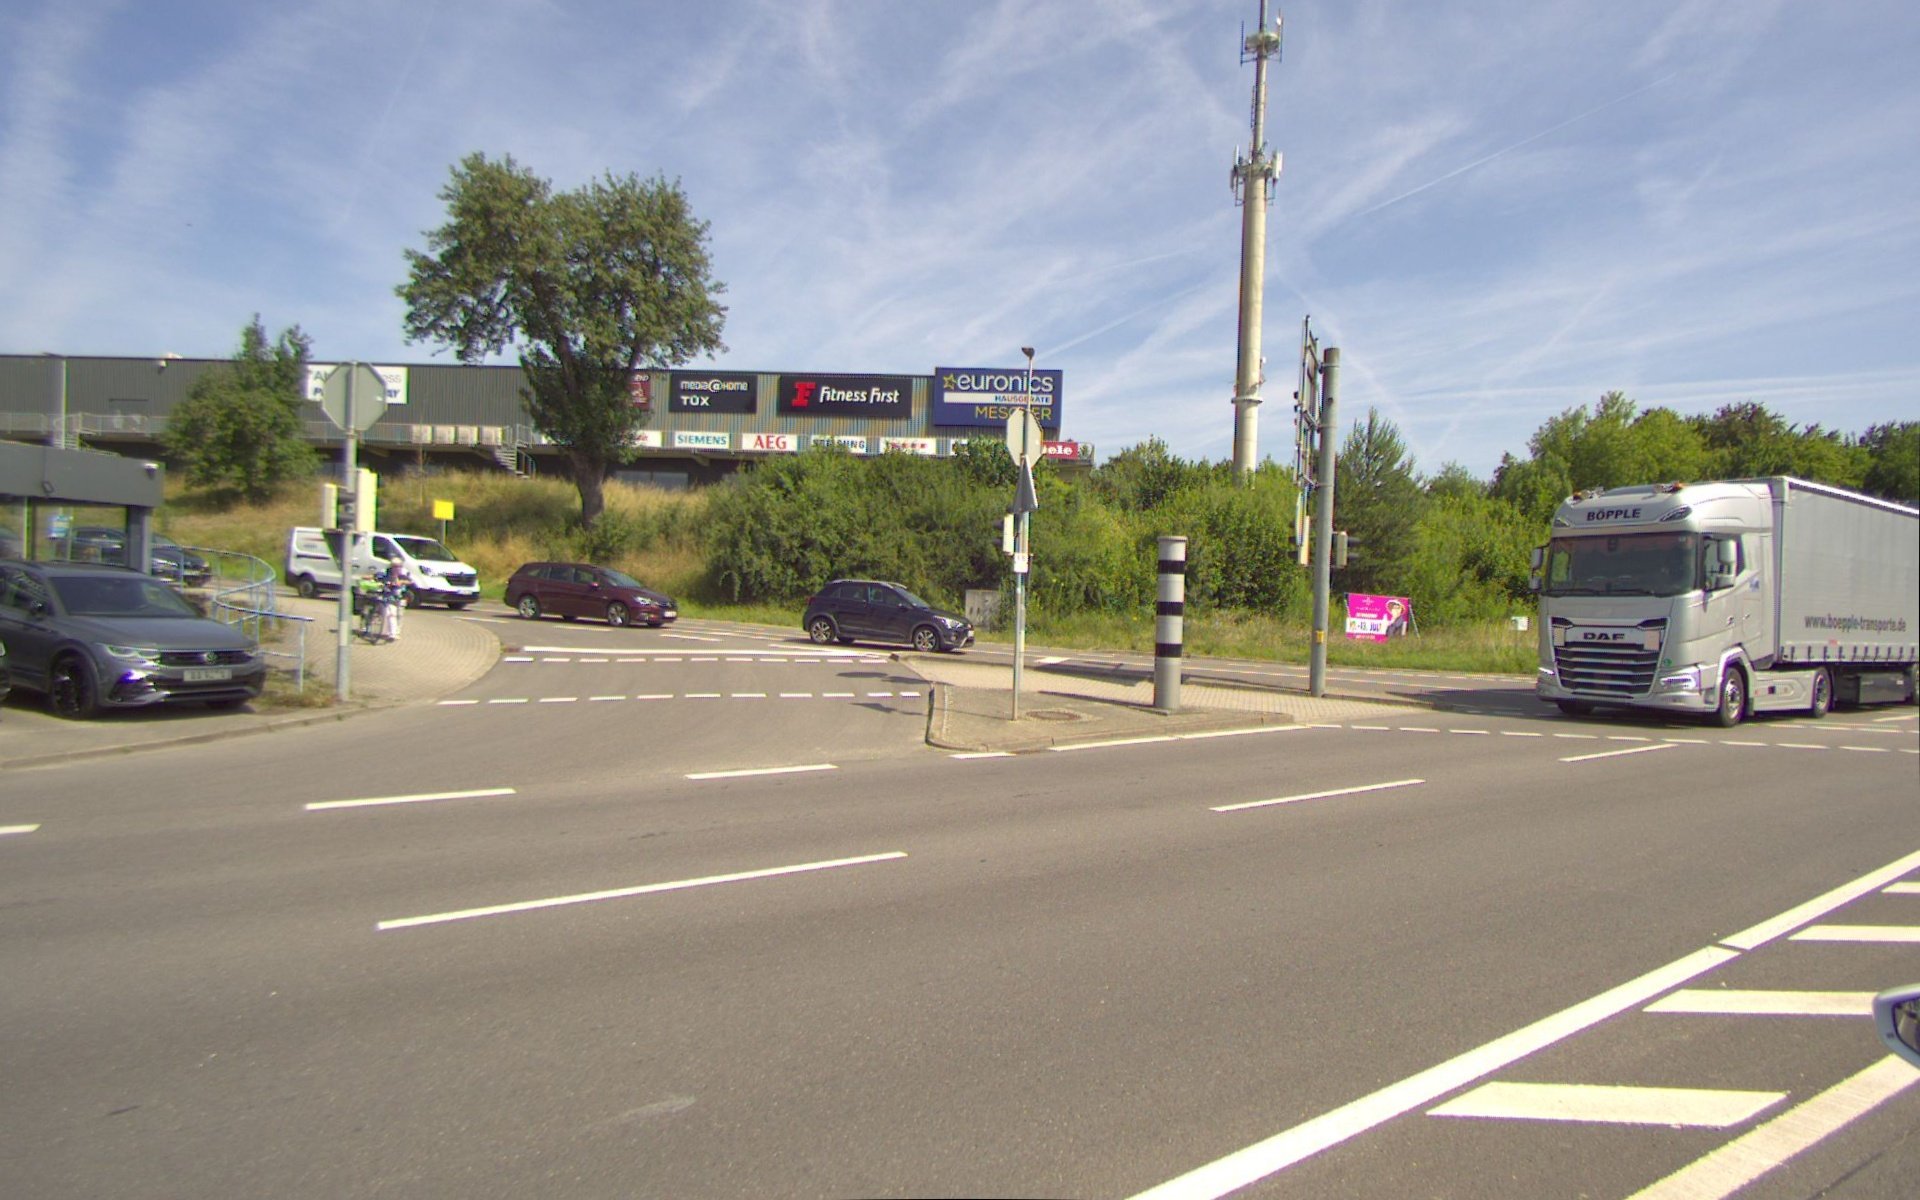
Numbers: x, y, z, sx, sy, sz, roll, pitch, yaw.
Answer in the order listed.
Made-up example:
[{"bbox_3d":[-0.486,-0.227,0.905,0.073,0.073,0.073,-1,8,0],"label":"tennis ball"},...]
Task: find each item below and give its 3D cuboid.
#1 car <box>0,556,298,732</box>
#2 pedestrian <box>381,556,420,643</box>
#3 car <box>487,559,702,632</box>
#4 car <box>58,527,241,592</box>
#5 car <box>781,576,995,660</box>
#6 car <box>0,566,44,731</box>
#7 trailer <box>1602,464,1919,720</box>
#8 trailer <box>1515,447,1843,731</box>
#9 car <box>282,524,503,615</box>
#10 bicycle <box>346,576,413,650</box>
[{"bbox_3d":[-10.792,0.411,12.300,4.647,1.647,1.890,4,2,16],"label":"car"},{"bbox_3d":[-10.334,-0.009,18.547,0.492,1.555,0.380,2,5,-42],"label":"pedestrian"},{"bbox_3d":[-9.296,-0.112,25.639,4.874,1.437,1.950,4,0,16],"label":"car"},{"bbox_3d":[-24.009,-1.191,29.793,4.419,1.583,2.001,4,0,16],"label":"car"},{"bbox_3d":[-1.656,0.374,23.522,4.543,1.548,1.916,4,2,16],"label":"car"},{"bbox_3d":[-12.163,0.334,10.353,4.702,1.647,1.932,4,1,18],"label":"car"},{"bbox_3d":[18.420,0.042,21.438,13.735,4.203,2.675,2,0,-34],"label":"trailer"},{"bbox_3d":[12.644,-0.091,17.525,6.116,4.159,2.629,2,0,-34],"label":"trailer"},{"bbox_3d":[-15.700,-0.861,27.848,5.404,2.069,2.069,4,2,16],"label":"car"},{"bbox_3d":[-10.628,0.214,18.346,0.587,1.042,2.193,2,7,-42],"label":"bicycle"}]
